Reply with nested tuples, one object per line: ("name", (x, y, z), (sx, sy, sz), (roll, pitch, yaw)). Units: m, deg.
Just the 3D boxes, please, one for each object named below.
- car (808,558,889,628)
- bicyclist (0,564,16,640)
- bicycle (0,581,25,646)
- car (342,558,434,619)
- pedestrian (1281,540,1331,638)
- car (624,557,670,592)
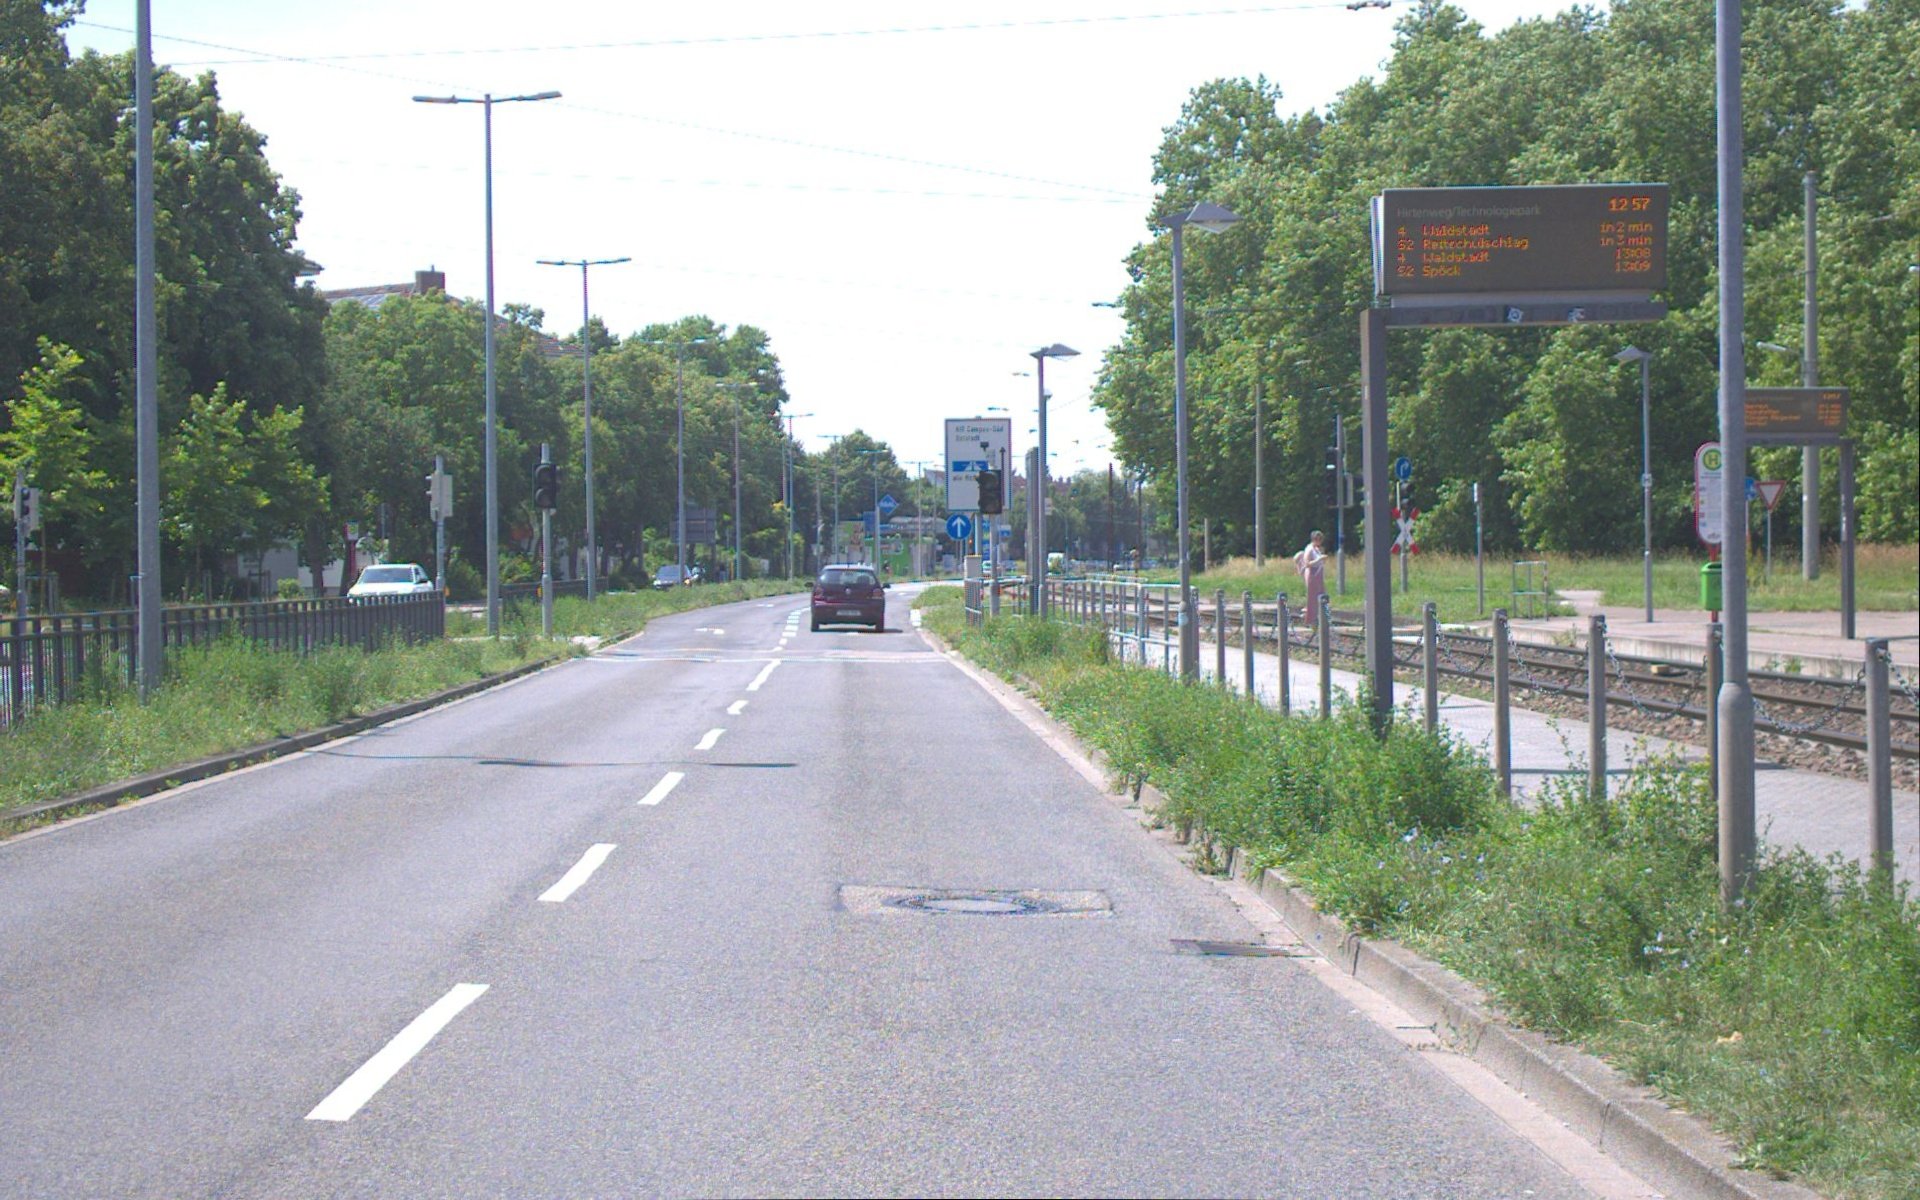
("car", (-2.427, -0.175, 75.831), (1.703, 1.472, 3.717), (-1, 1, -1))
("bicyclist", (-17.062, 0.037, 60.735), (0.544, 1.341, 0.755), (-1, 1, -2))
("bicycle", (-17.080, 0.243, 60.935), (0.588, 1.129, 1.615), (-1, 1, -1))
("car", (-14.979, -0.313, 90.235), (1.821, 1.567, 4.347), (0, 1, -2))
("pedestrian", (6.265, -0.194, 62.230), (0.634, 1.753, 0.817), (1, 0, -15))
("car", (-14.411, -1.177, 158.297), (1.756, 1.538, 4.161), (-1, 1, -1))
